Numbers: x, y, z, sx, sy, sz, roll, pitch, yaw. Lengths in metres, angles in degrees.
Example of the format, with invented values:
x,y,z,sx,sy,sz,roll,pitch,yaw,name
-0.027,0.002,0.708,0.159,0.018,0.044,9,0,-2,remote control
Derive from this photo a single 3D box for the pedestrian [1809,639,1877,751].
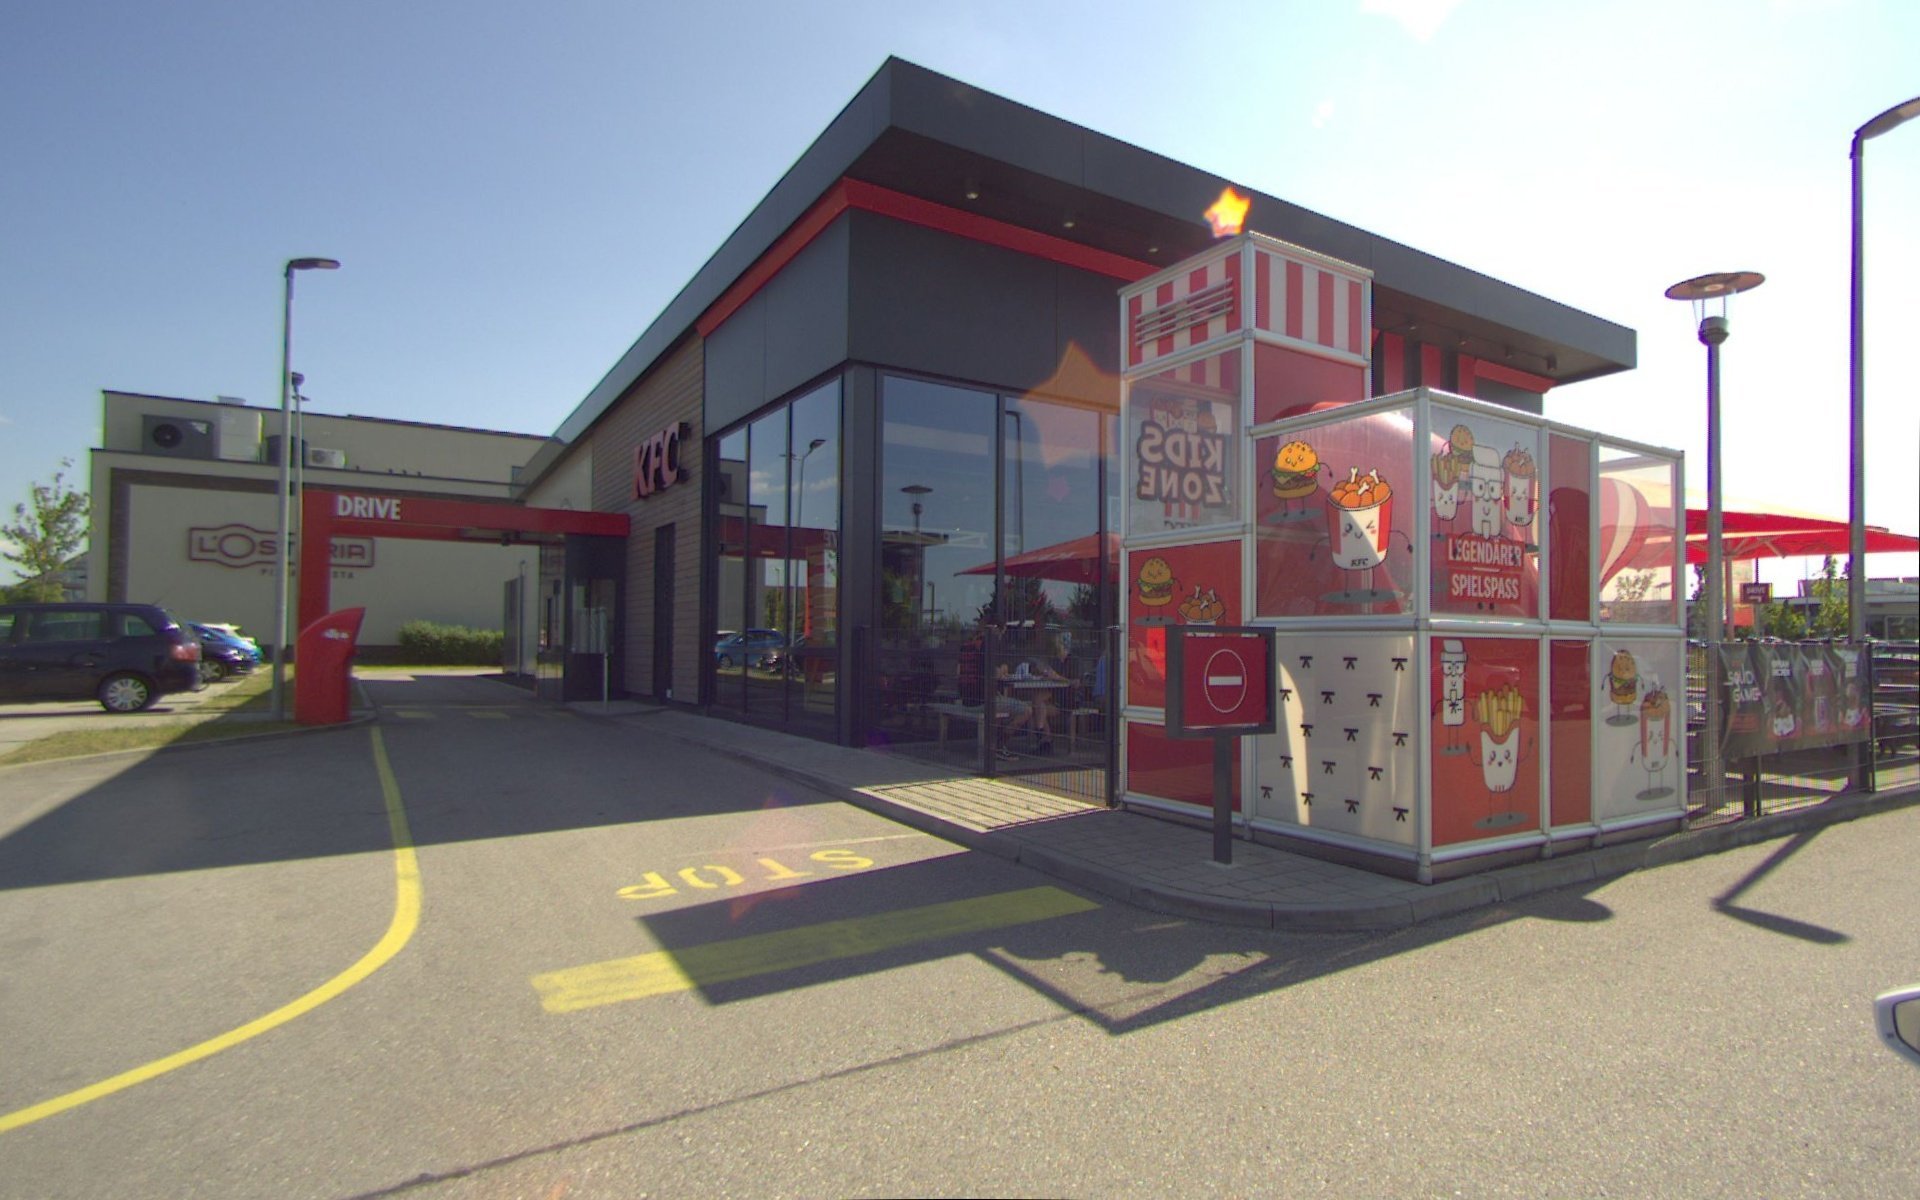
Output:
x,y,z,sx,sy,sz,roll,pitch,yaw,name
10.668,1.125,12.143,0.605,1.290,0.621,0,-1,41,pedestrian

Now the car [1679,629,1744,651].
x,y,z,sx,sy,sz,roll,pitch,yaw,name
74.697,3.936,99.906,2.063,2.040,4.882,2,-2,-36,car

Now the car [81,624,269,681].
x,y,z,sx,sy,sz,roll,pitch,yaw,name
-24.111,1.604,31.084,4.401,1.630,1.772,2,-2,-34,car

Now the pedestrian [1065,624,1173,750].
x,y,z,sx,sy,sz,roll,pitch,yaw,name
1.775,0.944,11.237,0.934,1.330,0.749,2,-1,-31,pedestrian

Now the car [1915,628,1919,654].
x,y,z,sx,sy,sz,roll,pitch,yaw,name
71.033,2.936,71.279,1.934,1.880,4.366,2,-2,-32,car

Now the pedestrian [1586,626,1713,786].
x,y,z,sx,sy,sz,roll,pitch,yaw,name
6.399,0.956,9.335,0.796,1.405,0.662,1,-1,-24,pedestrian

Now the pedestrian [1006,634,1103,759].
x,y,z,sx,sy,sz,roll,pitch,yaw,name
0.977,0.973,10.409,0.687,1.216,0.748,1,-1,-31,pedestrian

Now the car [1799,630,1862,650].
x,y,z,sx,sy,sz,roll,pitch,yaw,name
86.149,3.907,99.460,1.934,1.880,4.366,2,-2,-32,car

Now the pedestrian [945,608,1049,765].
x,y,z,sx,sy,sz,roll,pitch,yaw,name
0.364,0.824,9.940,0.686,1.462,0.791,2,-1,-34,pedestrian

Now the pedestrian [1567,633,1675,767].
x,y,z,sx,sy,sz,roll,pitch,yaw,name
6.864,1.009,10.444,0.702,1.322,0.662,1,-1,-24,pedestrian

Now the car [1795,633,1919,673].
x,y,z,sx,sy,sz,roll,pitch,yaw,name
43.383,2.494,47.906,1.964,1.754,5.186,2,-1,-28,car

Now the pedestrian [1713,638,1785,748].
x,y,z,sx,sy,sz,roll,pitch,yaw,name
9.701,1.115,12.347,0.675,1.290,0.548,0,-1,41,pedestrian

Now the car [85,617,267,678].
x,y,z,sx,sy,sz,roll,pitch,yaw,name
-22.414,1.345,28.938,3.959,1.630,1.772,2,-2,-34,car

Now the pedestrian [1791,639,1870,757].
x,y,z,sx,sy,sz,roll,pitch,yaw,name
10.083,1.102,11.642,0.675,1.290,0.837,0,-1,41,pedestrian

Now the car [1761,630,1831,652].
x,y,z,sx,sy,sz,roll,pitch,yaw,name
76.347,3.752,91.765,1.934,1.880,4.533,2,-2,-32,car

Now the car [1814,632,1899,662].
x,y,z,sx,sy,sz,roll,pitch,yaw,name
59.254,3.076,66.436,4.208,1.880,1.997,1,-1,-9,car

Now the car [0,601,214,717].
x,y,z,sx,sy,sz,roll,pitch,yaw,name
-13.713,0.830,14.598,4.504,1.590,1.981,1,-2,-35,car

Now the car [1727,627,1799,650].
x,y,z,sx,sy,sz,roll,pitch,yaw,name
69.708,3.354,87.212,1.934,1.880,4.533,2,-2,-32,car

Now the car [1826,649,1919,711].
x,y,z,sx,sy,sz,roll,pitch,yaw,name
24.836,2.089,26.167,4.294,1.488,1.822,3,-3,-25,car
